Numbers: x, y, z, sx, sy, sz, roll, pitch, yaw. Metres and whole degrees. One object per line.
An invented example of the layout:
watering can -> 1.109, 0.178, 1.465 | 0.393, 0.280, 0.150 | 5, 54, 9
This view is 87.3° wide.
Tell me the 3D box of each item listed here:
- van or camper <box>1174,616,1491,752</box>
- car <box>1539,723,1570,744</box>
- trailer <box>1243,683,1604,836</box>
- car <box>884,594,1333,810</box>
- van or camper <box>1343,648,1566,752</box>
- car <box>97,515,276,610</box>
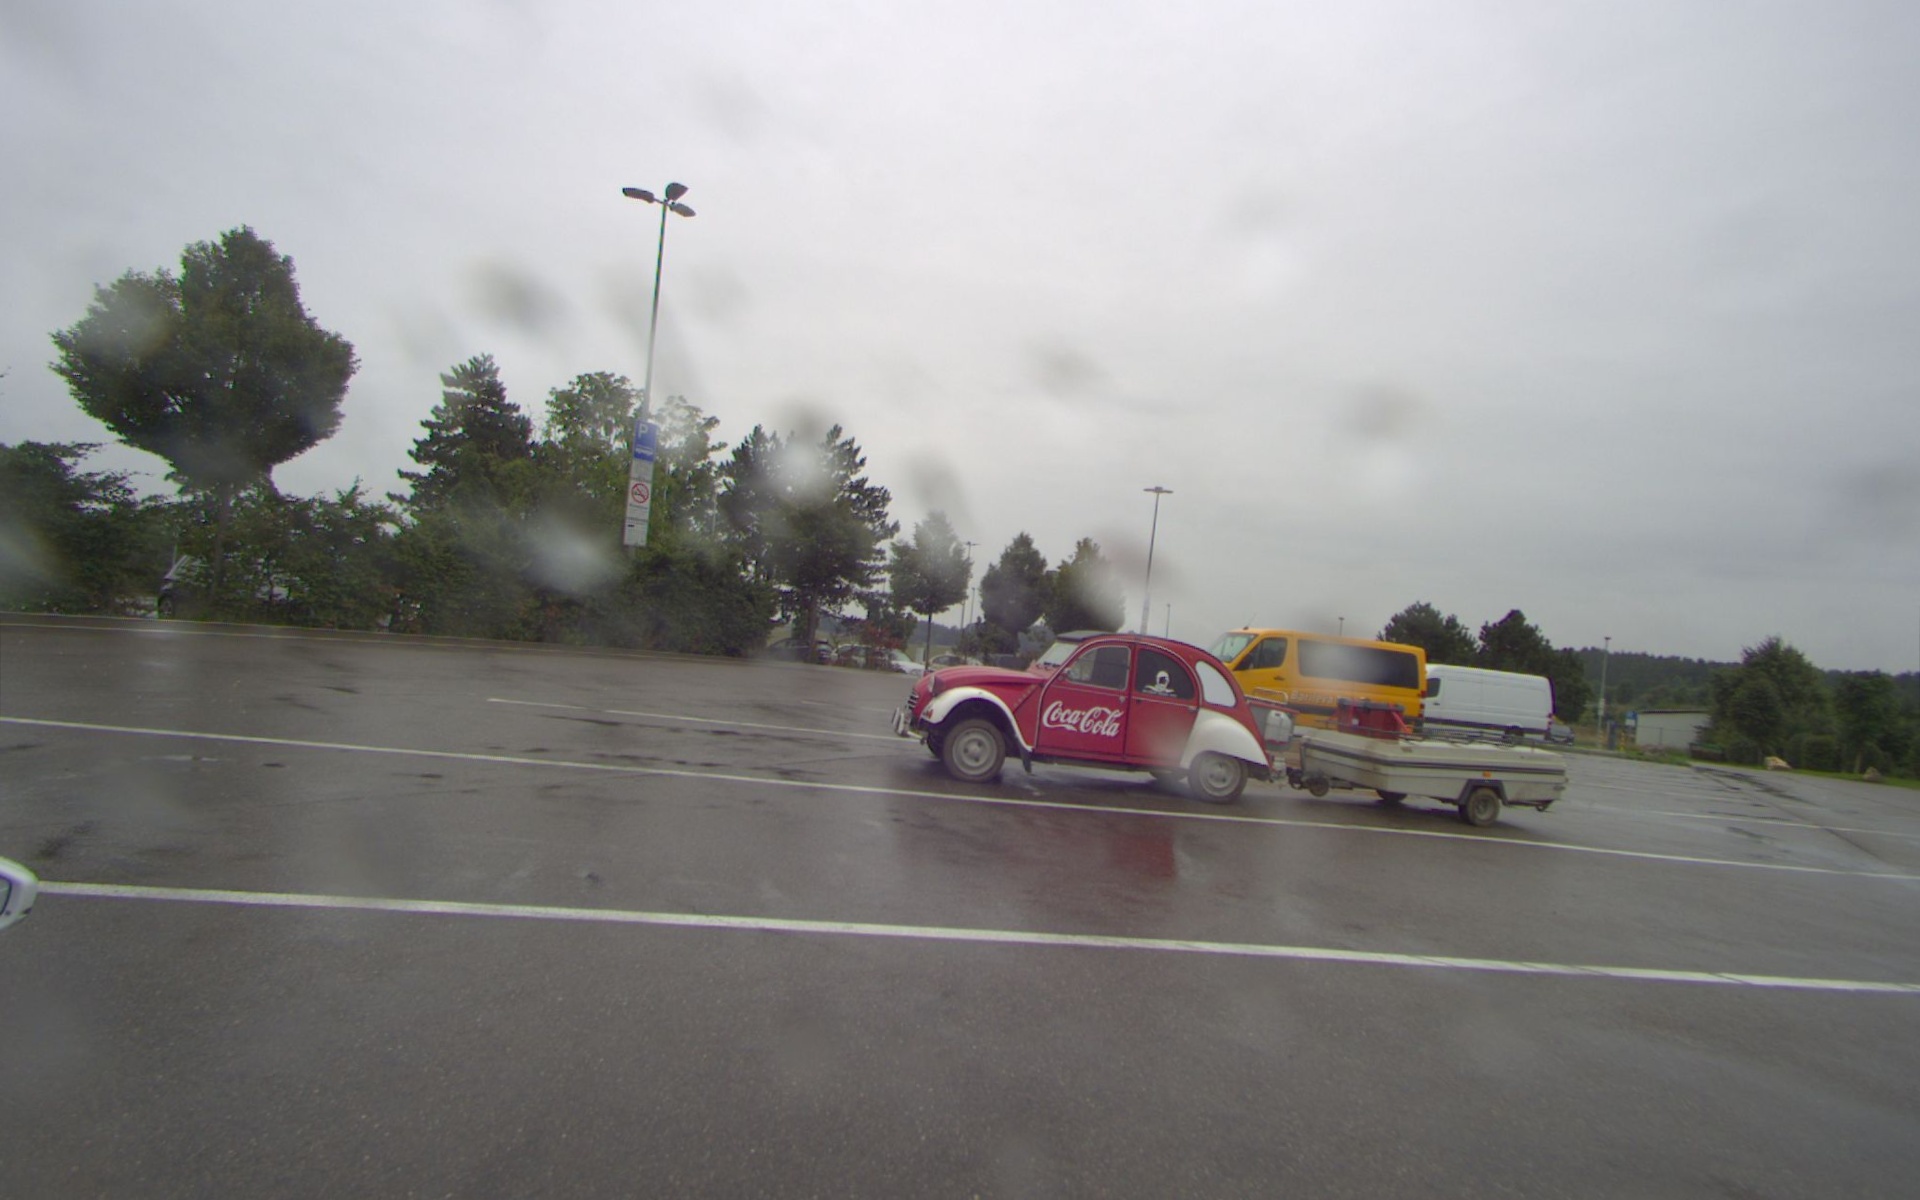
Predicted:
van or camper -> 8.273, 1.848, 22.512 | 6.311, 2.274, 2.131 | 7, -1, -11
car -> 41.432, 9.290, 70.147 | 1.680, 1.012, 3.763 | 6, -1, 29
trailer -> 4.760, 1.628, 10.549 | 2.978, 1.080, 1.588 | 7, -2, -8
car -> 1.356, 0.969, 9.927 | 3.986, 1.574, 1.548 | 7, -1, -8
van or camper -> 17.234, 3.472, 35.155 | 6.950, 2.750, 1.995 | 7, 1, -11
car -> -16.325, -0.816, 21.177 | 4.030, 1.648, 1.781 | 5, -1, 35
